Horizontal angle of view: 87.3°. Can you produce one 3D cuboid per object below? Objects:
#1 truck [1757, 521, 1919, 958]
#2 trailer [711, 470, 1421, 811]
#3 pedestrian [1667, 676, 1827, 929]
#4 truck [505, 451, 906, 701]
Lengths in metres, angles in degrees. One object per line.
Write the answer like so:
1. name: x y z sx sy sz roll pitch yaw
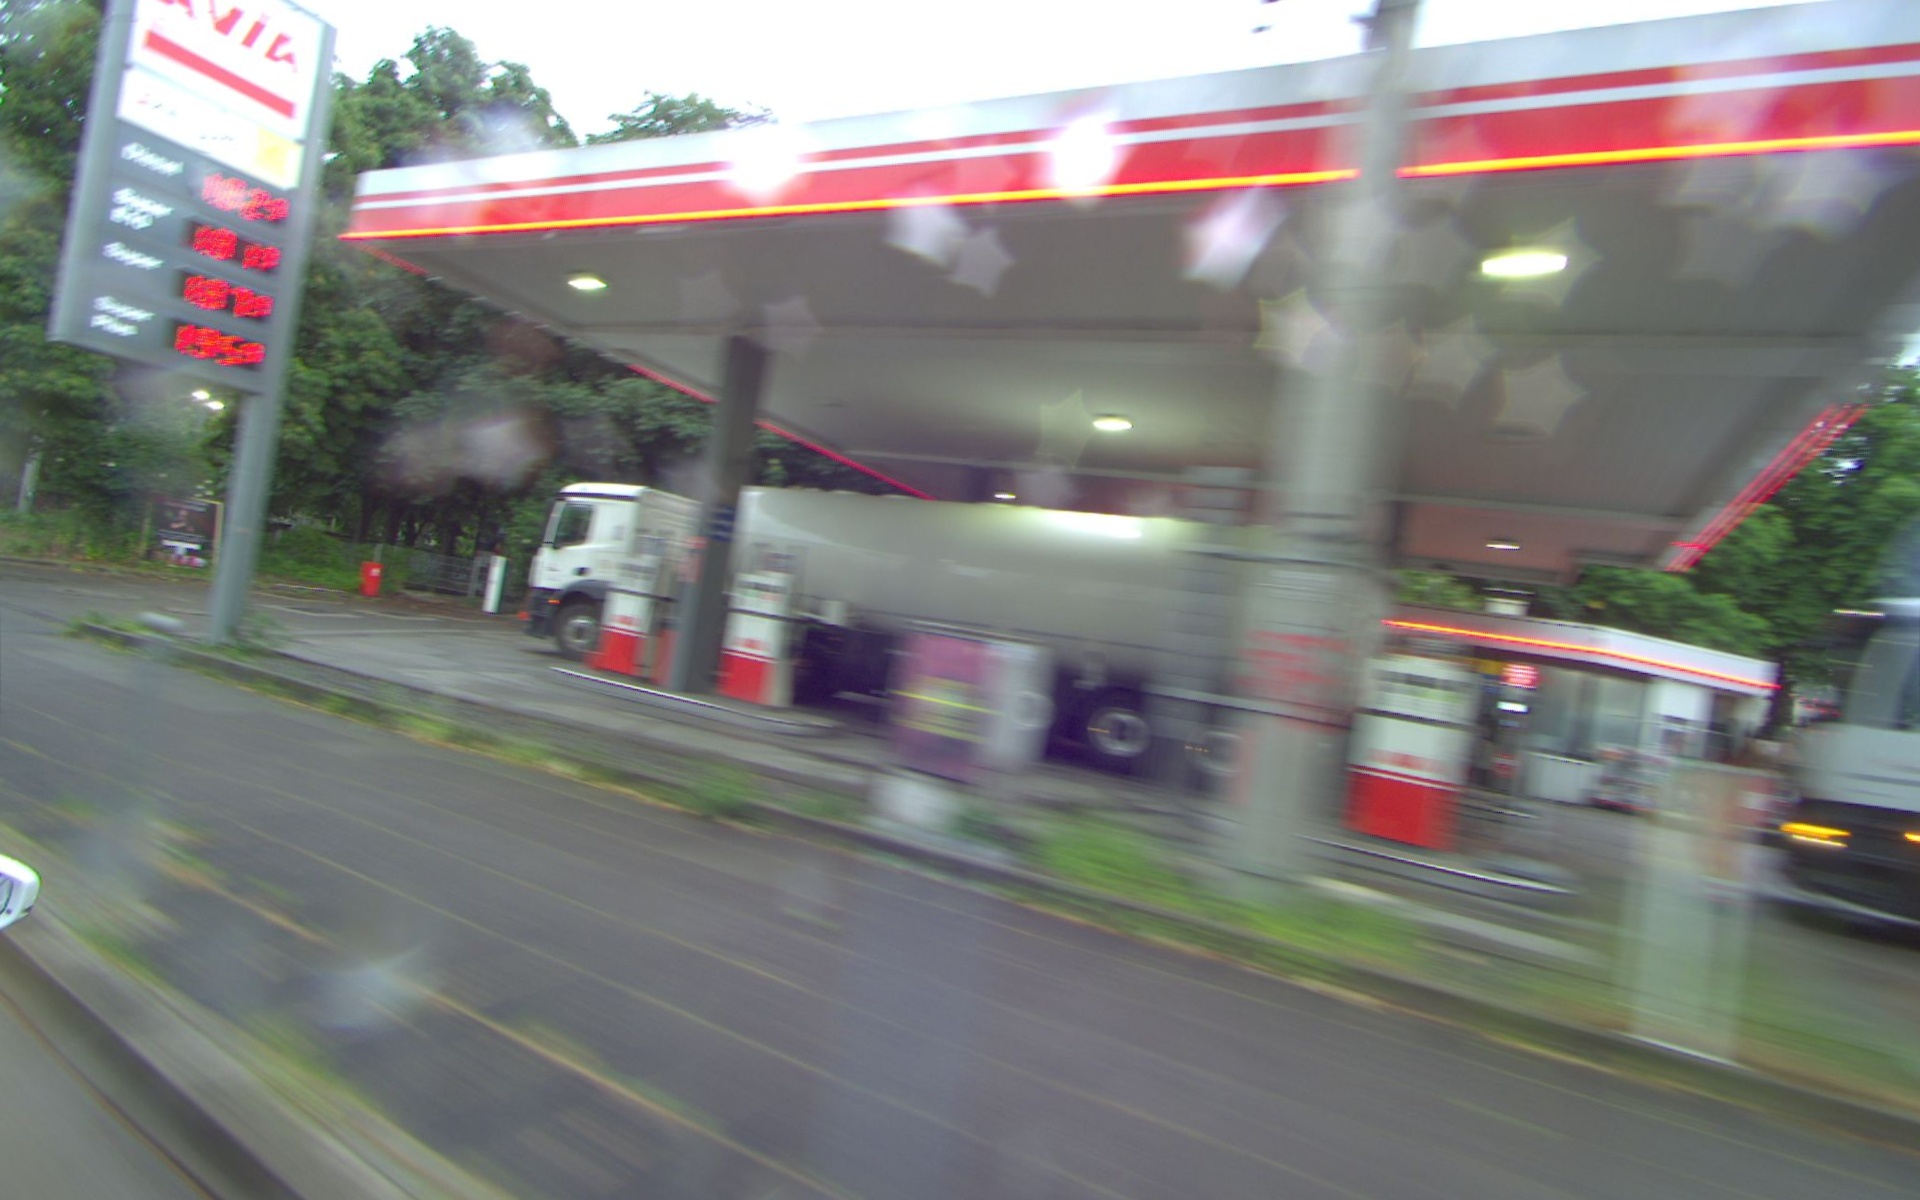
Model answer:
1. truck: 12.357 1.689 7.071 10.092 3.610 2.657 6 -2 34
2. trailer: 1.198 0.294 14.717 9.665 3.435 2.812 7 -2 28
3. pedestrian: 7.001 1.751 8.998 0.639 2.064 0.811 8 -1 13
4. truck: -4.444 -0.434 17.493 6.017 3.440 2.836 7 -1 26
